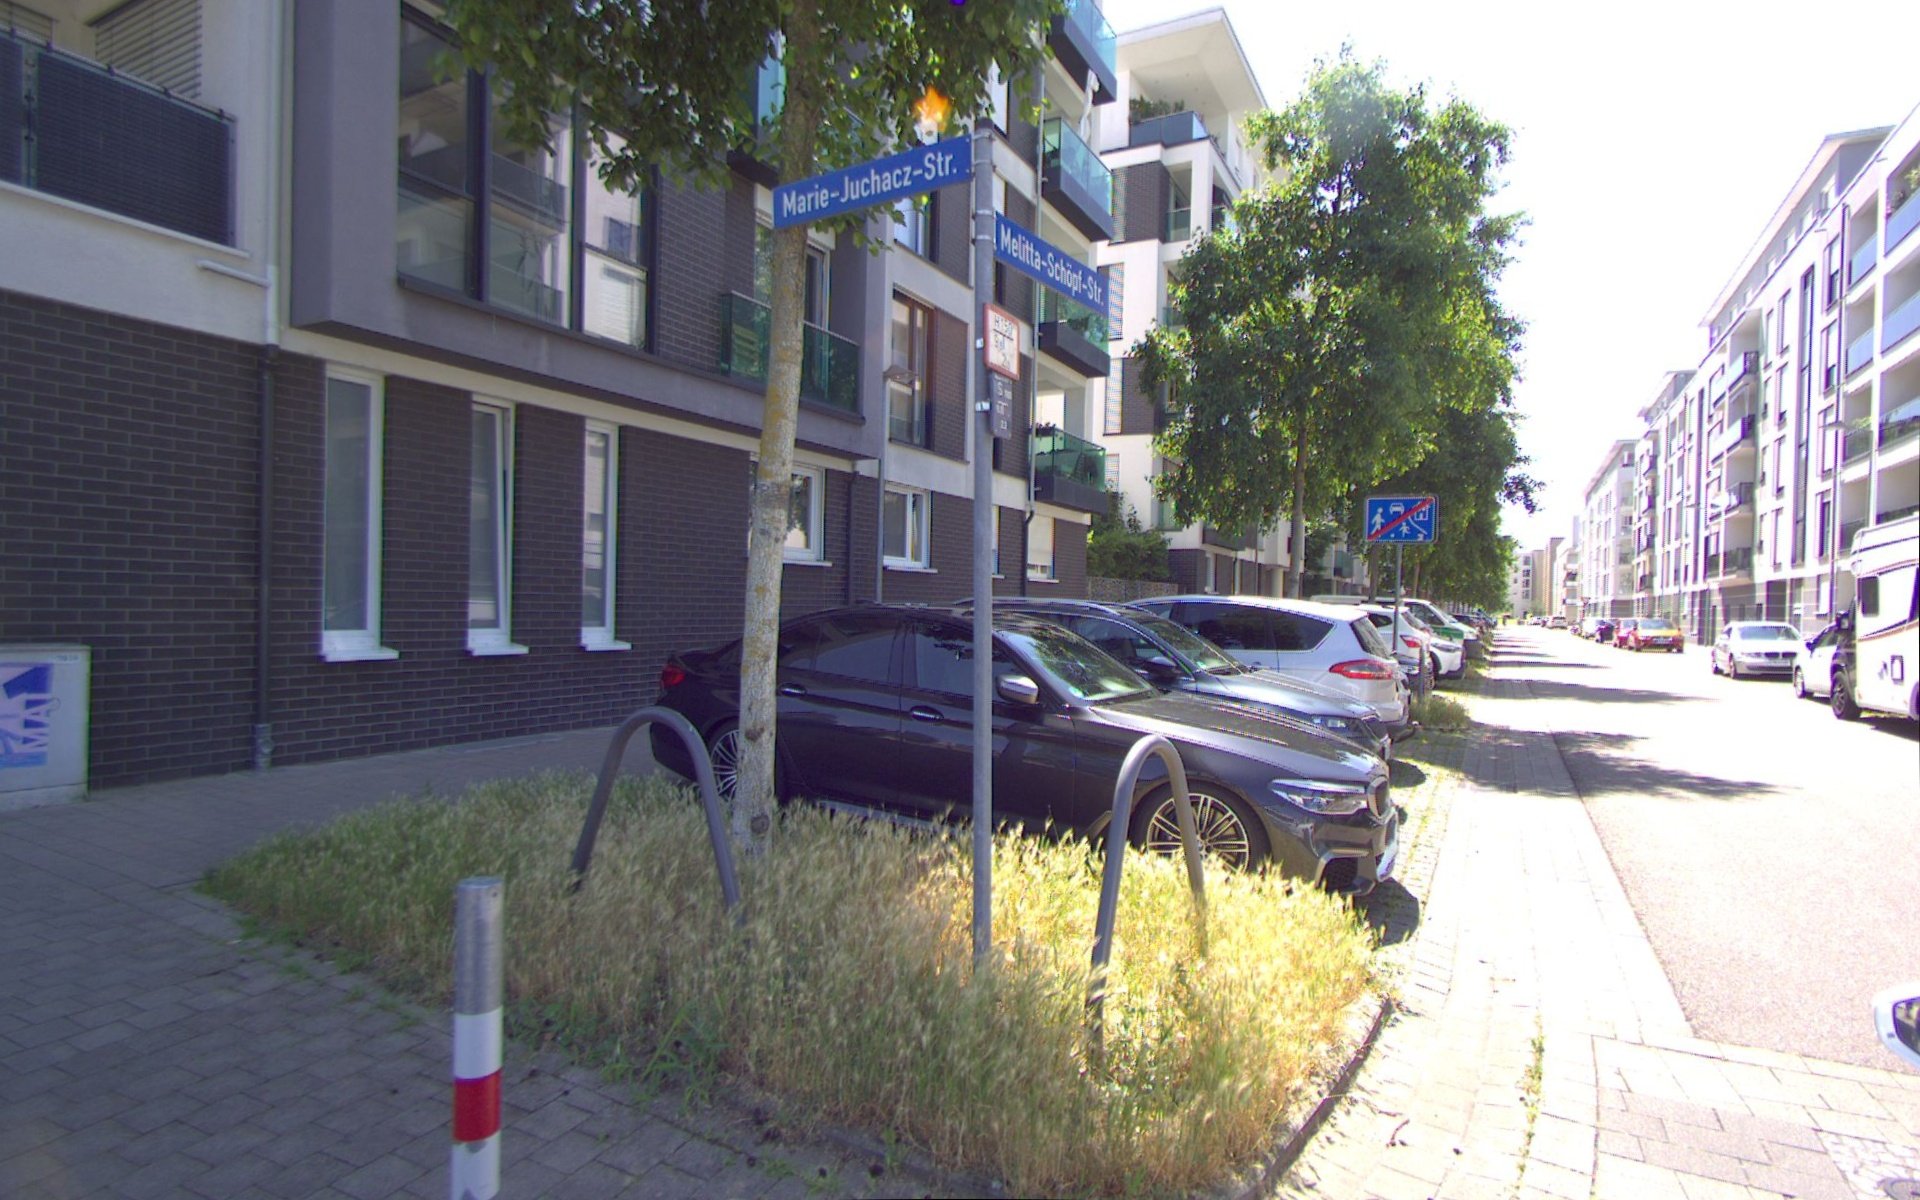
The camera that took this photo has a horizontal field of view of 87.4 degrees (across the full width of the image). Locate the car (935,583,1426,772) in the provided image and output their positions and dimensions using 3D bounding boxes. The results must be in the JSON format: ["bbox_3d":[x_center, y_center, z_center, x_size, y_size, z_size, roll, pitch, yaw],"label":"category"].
[{"bbox_3d":[2.390,0.689,11.128,4.951,1.654,2.040,1,0,27],"label":"car"}]

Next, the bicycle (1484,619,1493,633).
[{"bbox_3d":[46.732,2.291,88.883,0.365,1.196,1.821,0,-1,17],"label":"bicycle"}]

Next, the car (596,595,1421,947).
[{"bbox_3d":[0.209,0.795,6.561,5.020,1.504,1.926,1,-1,27],"label":"car"}]

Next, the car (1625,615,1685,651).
[{"bbox_3d":[30.698,1.415,44.455,1.712,1.506,4.252,-1,-1,29],"label":"car"}]

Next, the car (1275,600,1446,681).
[{"bbox_3d":[9.729,0.939,24.427,3.624,1.698,1.849,2,0,28],"label":"car"}]

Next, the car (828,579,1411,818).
[{"bbox_3d":[1.344,0.693,8.951,4.744,1.468,1.826,4,0,27],"label":"car"}]

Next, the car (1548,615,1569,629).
[{"bbox_3d":[69.688,2.543,116.959,1.968,1.679,4.108,0,-1,29],"label":"car"}]

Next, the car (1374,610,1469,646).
[{"bbox_3d":[23.212,1.374,50.561,4.188,1.538,1.921,3,1,29],"label":"car"}]

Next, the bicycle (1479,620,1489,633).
[{"bbox_3d":[46.408,2.319,89.033,0.426,1.143,1.979,0,-1,17],"label":"bicycle"}]

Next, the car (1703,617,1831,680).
[{"bbox_3d":[20.634,1.187,25.868,1.818,1.435,4.418,1,-1,29],"label":"car"}]

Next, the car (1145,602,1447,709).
[{"bbox_3d":[5.884,0.894,17.753,4.778,1.476,1.826,3,1,29],"label":"car"}]

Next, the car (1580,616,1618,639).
[{"bbox_3d":[43.212,1.851,67.987,1.807,1.524,4.343,-1,-1,29],"label":"car"}]

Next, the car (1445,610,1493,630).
[{"bbox_3d":[61.611,2.415,121.513,5.068,2.147,2.307,2,0,29],"label":"car"}]

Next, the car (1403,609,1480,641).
[{"bbox_3d":[28.319,1.457,59.047,3.927,1.651,1.930,2,0,29],"label":"car"}]

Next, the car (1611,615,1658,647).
[{"bbox_3d":[33.139,1.520,49.421,1.572,1.505,3.669,-1,-1,29],"label":"car"}]

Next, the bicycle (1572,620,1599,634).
[{"bbox_3d":[50.277,2.152,80.792,1.802,1.163,0.461,0,-1,10],"label":"bicycle"}]

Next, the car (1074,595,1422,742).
[{"bbox_3d":[3.830,0.801,13.434,4.185,1.551,1.821,3,1,26],"label":"car"}]

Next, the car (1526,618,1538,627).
[{"bbox_3d":[114.742,4.521,201.436,1.963,1.740,3.995,1,-1,27],"label":"car"}]

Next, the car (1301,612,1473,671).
[{"bbox_3d":[12.085,1.131,28.481,4.353,1.509,1.998,0,-1,27],"label":"car"}]

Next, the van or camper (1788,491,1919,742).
[{"bbox_3d":[13.046,0.249,12.614,2.401,2.944,7.817,2,-1,27],"label":"van or camper"}]

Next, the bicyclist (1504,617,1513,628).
[{"bbox_3d":[71.485,2.931,130.903,0.939,1.479,0.798,0,0,28],"label":"bicyclist"}]

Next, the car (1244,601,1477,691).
[{"bbox_3d":[8.694,0.938,21.988,4.485,1.615,1.965,3,0,24],"label":"car"}]

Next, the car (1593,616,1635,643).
[{"bbox_3d":[37.726,1.680,58.030,1.618,1.482,4.111,-1,-1,28],"label":"car"}]

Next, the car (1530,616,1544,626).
[{"bbox_3d":[101.980,3.689,177.434,1.963,1.697,3.995,1,-1,27],"label":"car"}]

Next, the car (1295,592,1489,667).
[{"bbox_3d":[13.312,0.856,31.048,5.265,2.139,2.182,0,-1,31],"label":"car"}]

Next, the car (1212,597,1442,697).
[{"bbox_3d":[7.210,0.857,19.808,3.923,1.651,1.945,3,0,31],"label":"car"}]

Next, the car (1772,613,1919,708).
[{"bbox_3d":[16.282,1.006,17.993,1.779,1.524,4.256,-1,-1,26],"label":"car"}]

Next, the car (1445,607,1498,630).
[{"bbox_3d":[64.295,2.290,126.225,5.935,2.854,2.601,0,-1,29],"label":"car"}]
